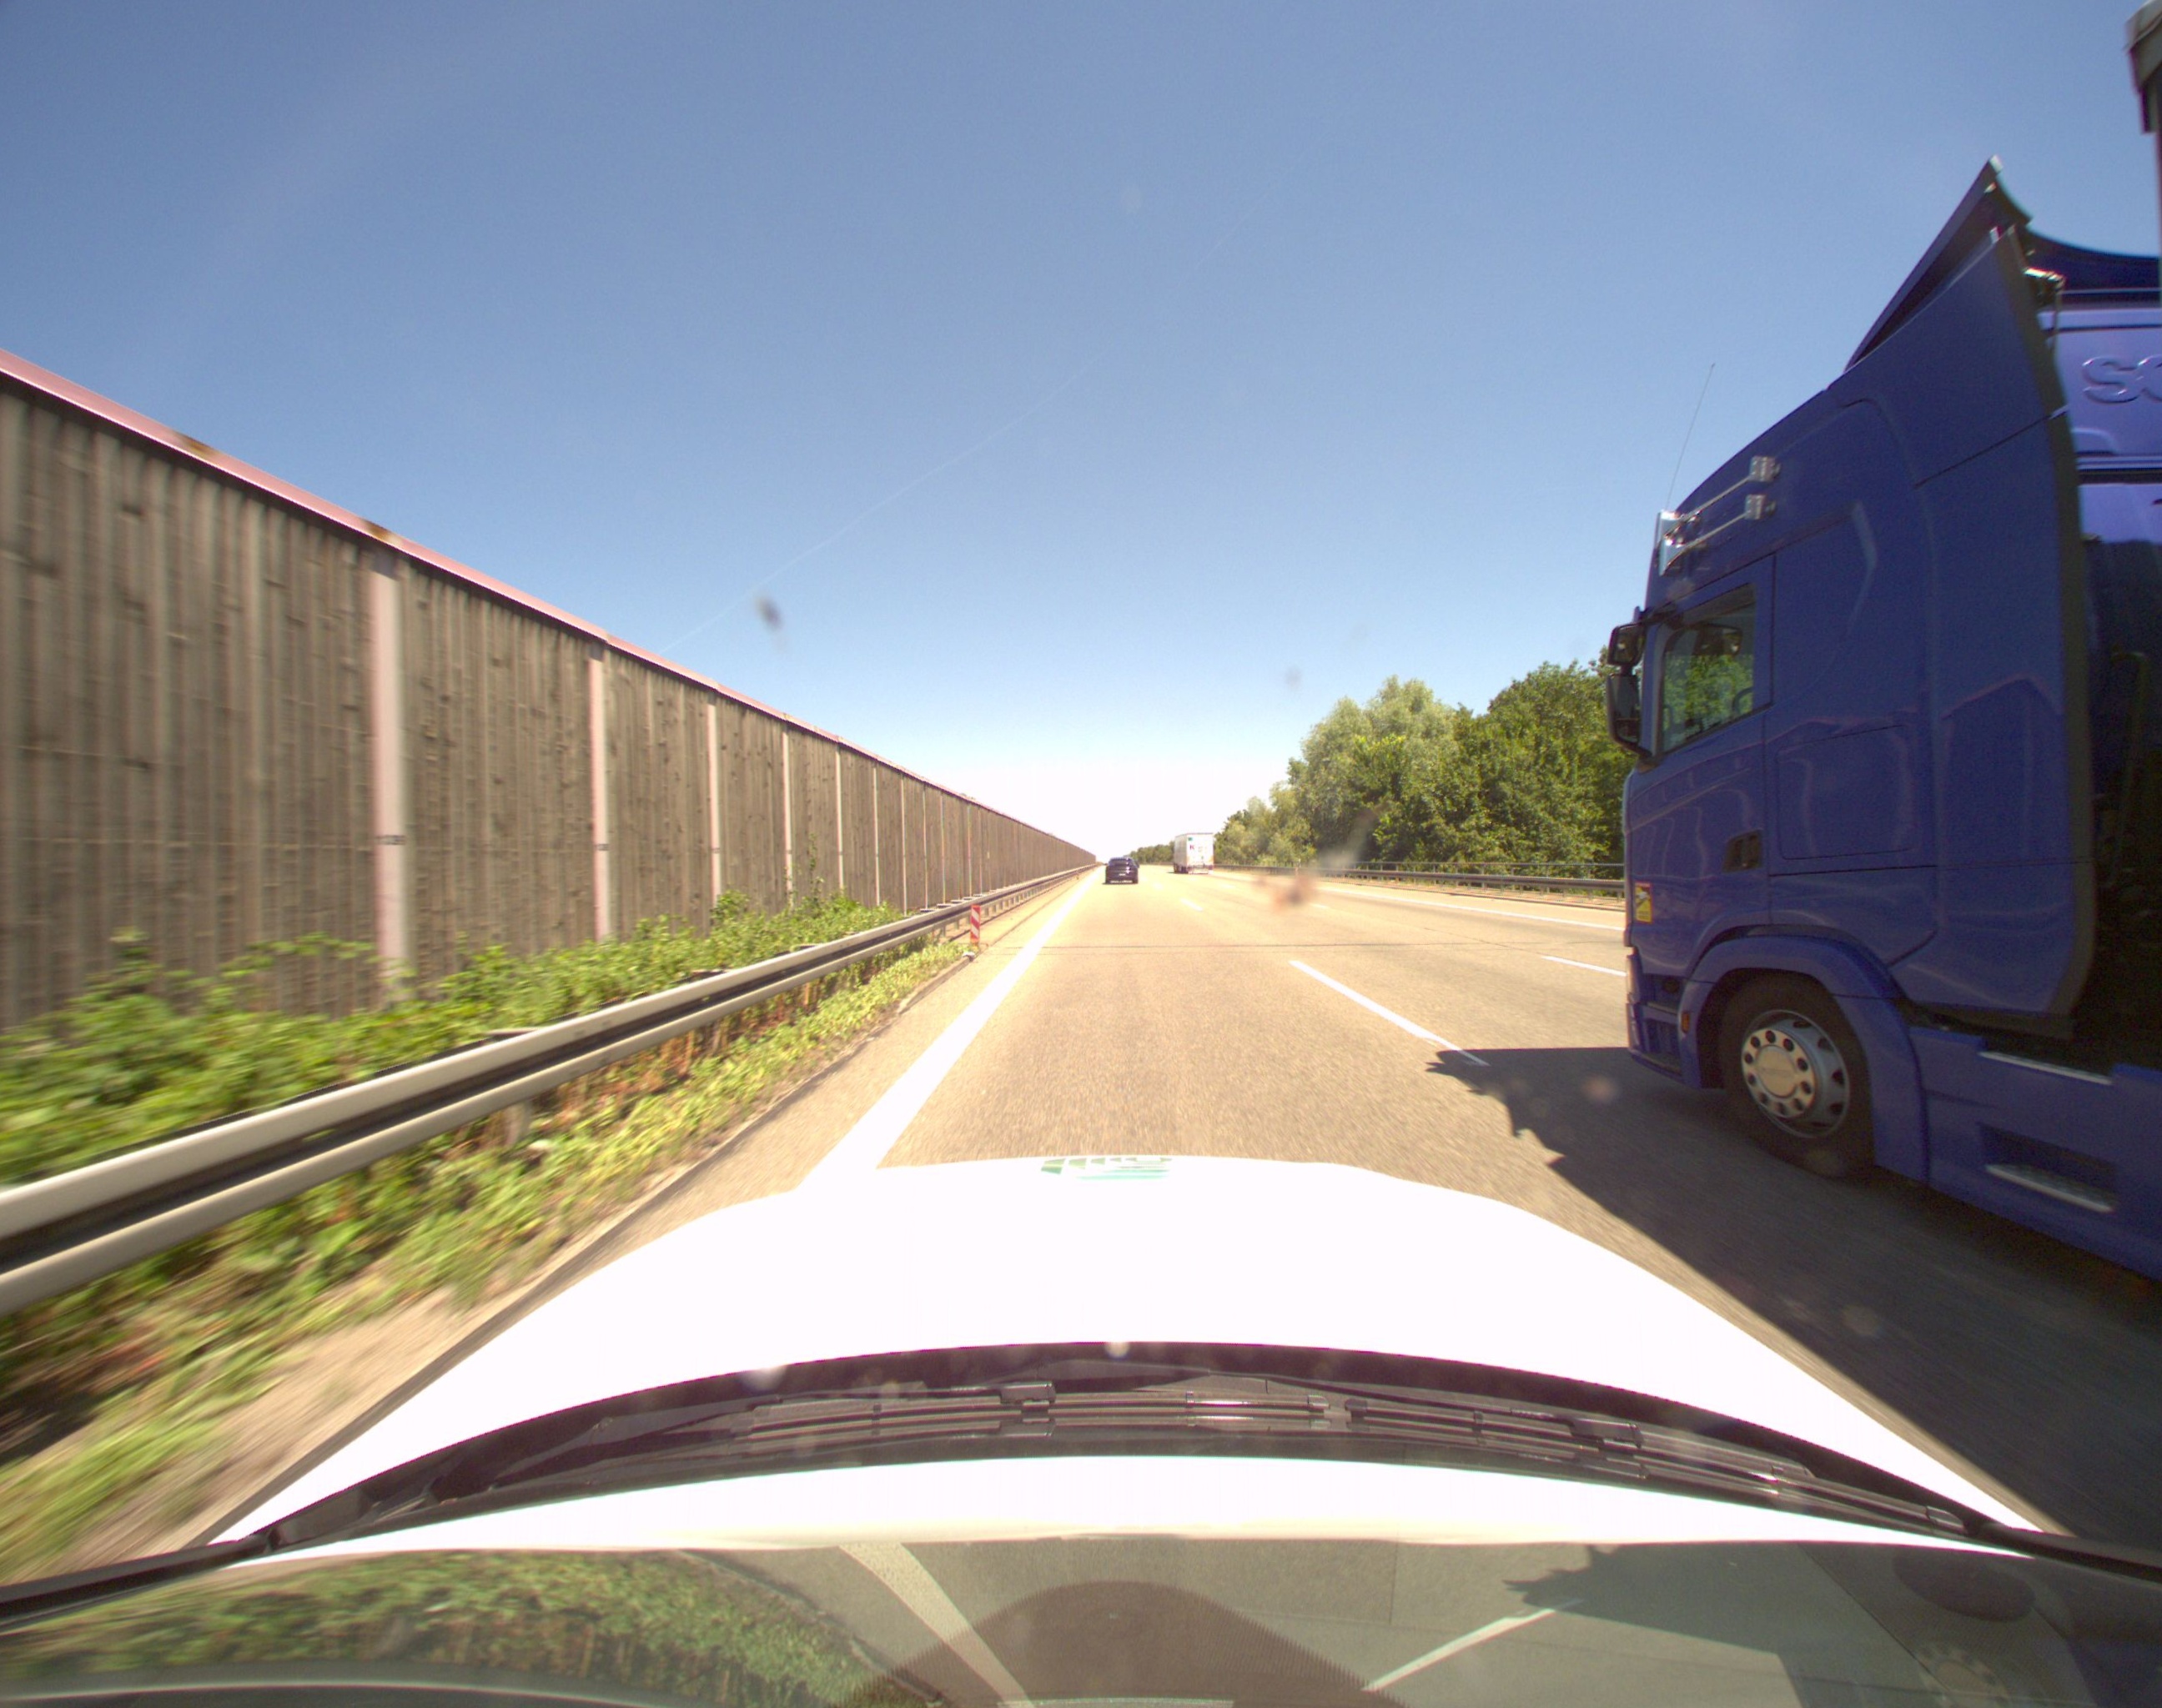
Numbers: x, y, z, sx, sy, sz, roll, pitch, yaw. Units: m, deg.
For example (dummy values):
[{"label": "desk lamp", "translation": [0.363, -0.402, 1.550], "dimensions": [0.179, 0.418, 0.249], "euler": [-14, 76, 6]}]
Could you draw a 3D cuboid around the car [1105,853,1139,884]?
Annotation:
[{"label": "car", "translation": [2.486, 0.871, 50.318], "dimensions": [1.874, 1.792, 4.000], "euler": [-1, 0, 0]}]

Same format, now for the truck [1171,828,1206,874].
[{"label": "truck", "translation": [12.061, -0.295, 91.608], "dimensions": [3.221, 4.889, 6.975], "euler": [-1, -1, 2]}]

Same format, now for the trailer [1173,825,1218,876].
[{"label": "trailer", "translation": [11.717, -0.258, 84.629], "dimensions": [3.256, 4.837, 14.036], "euler": [-1, 0, 2]}]

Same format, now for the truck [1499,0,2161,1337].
[{"label": "truck", "translation": [4.420, -0.690, 2.548], "dimensions": [2.691, 4.118, 6.991], "euler": [-1, -1, 1]}]

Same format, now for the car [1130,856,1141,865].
[{"label": "car", "translation": [10.046, 1.170, 149.744], "dimensions": [1.896, 1.584, 4.306], "euler": [-2, -1, 2]}]
